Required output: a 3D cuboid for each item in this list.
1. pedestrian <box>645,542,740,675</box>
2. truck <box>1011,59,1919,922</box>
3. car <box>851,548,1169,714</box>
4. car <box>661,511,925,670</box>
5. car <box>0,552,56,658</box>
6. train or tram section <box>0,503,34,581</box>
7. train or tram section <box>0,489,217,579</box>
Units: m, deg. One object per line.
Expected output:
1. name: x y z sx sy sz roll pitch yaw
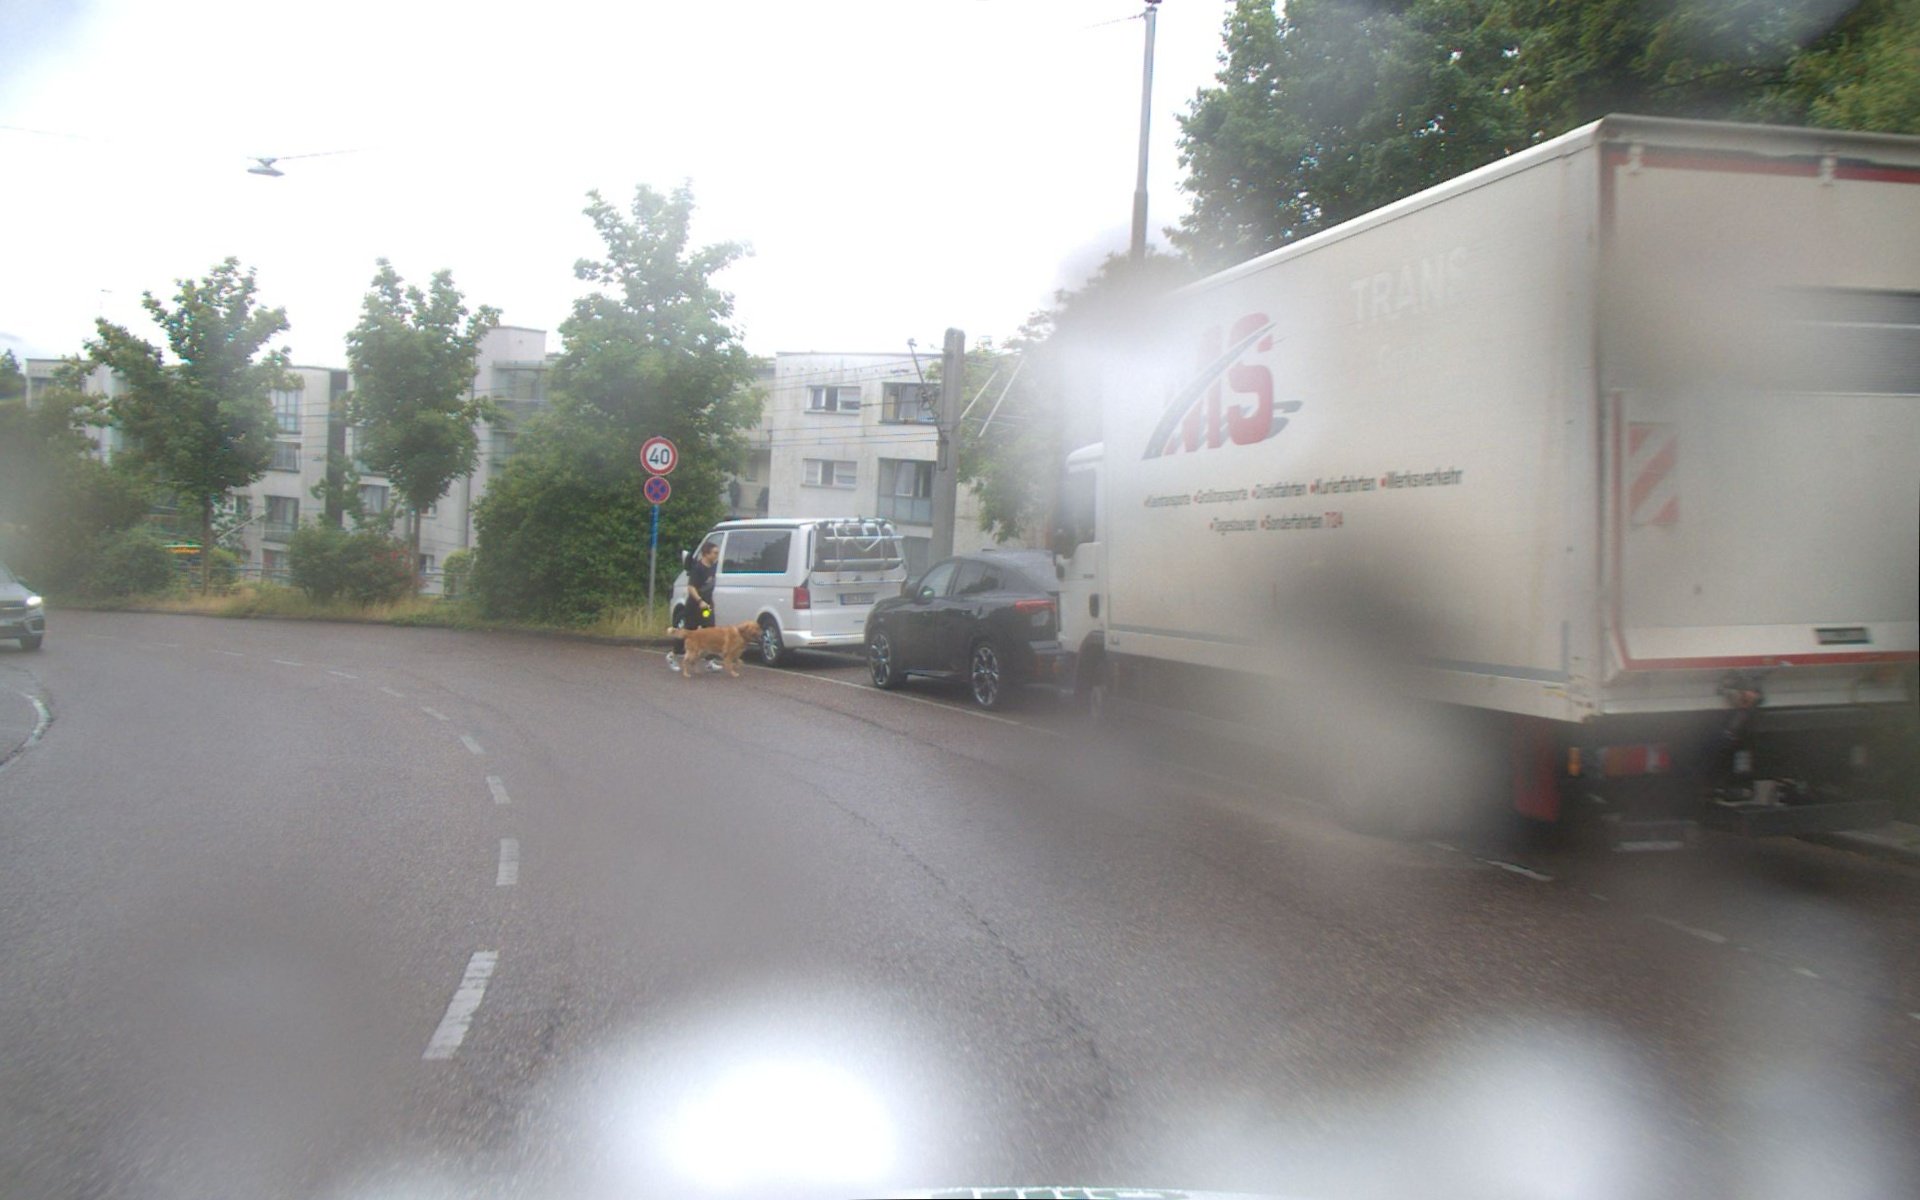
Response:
1. pedestrian: -3.526 0.093 21.840 0.906 1.690 0.802 1 3 35
2. truck: 3.001 -0.570 11.401 2.958 3.636 8.302 -1 1 -16
3. car: 0.413 0.236 18.327 1.698 1.583 4.240 -2 2 -27
4. car: -2.519 -0.207 23.853 1.860 2.048 4.638 -2 3 -33
5. car: -17.410 0.048 28.740 4.237 1.698 1.811 2 4 44
6. train or tram section: -57.151 -3.241 91.163 18.437 4.016 3.329 2 1 36
7. train or tram section: -42.950 -3.216 80.722 18.896 4.016 3.329 2 1 36
